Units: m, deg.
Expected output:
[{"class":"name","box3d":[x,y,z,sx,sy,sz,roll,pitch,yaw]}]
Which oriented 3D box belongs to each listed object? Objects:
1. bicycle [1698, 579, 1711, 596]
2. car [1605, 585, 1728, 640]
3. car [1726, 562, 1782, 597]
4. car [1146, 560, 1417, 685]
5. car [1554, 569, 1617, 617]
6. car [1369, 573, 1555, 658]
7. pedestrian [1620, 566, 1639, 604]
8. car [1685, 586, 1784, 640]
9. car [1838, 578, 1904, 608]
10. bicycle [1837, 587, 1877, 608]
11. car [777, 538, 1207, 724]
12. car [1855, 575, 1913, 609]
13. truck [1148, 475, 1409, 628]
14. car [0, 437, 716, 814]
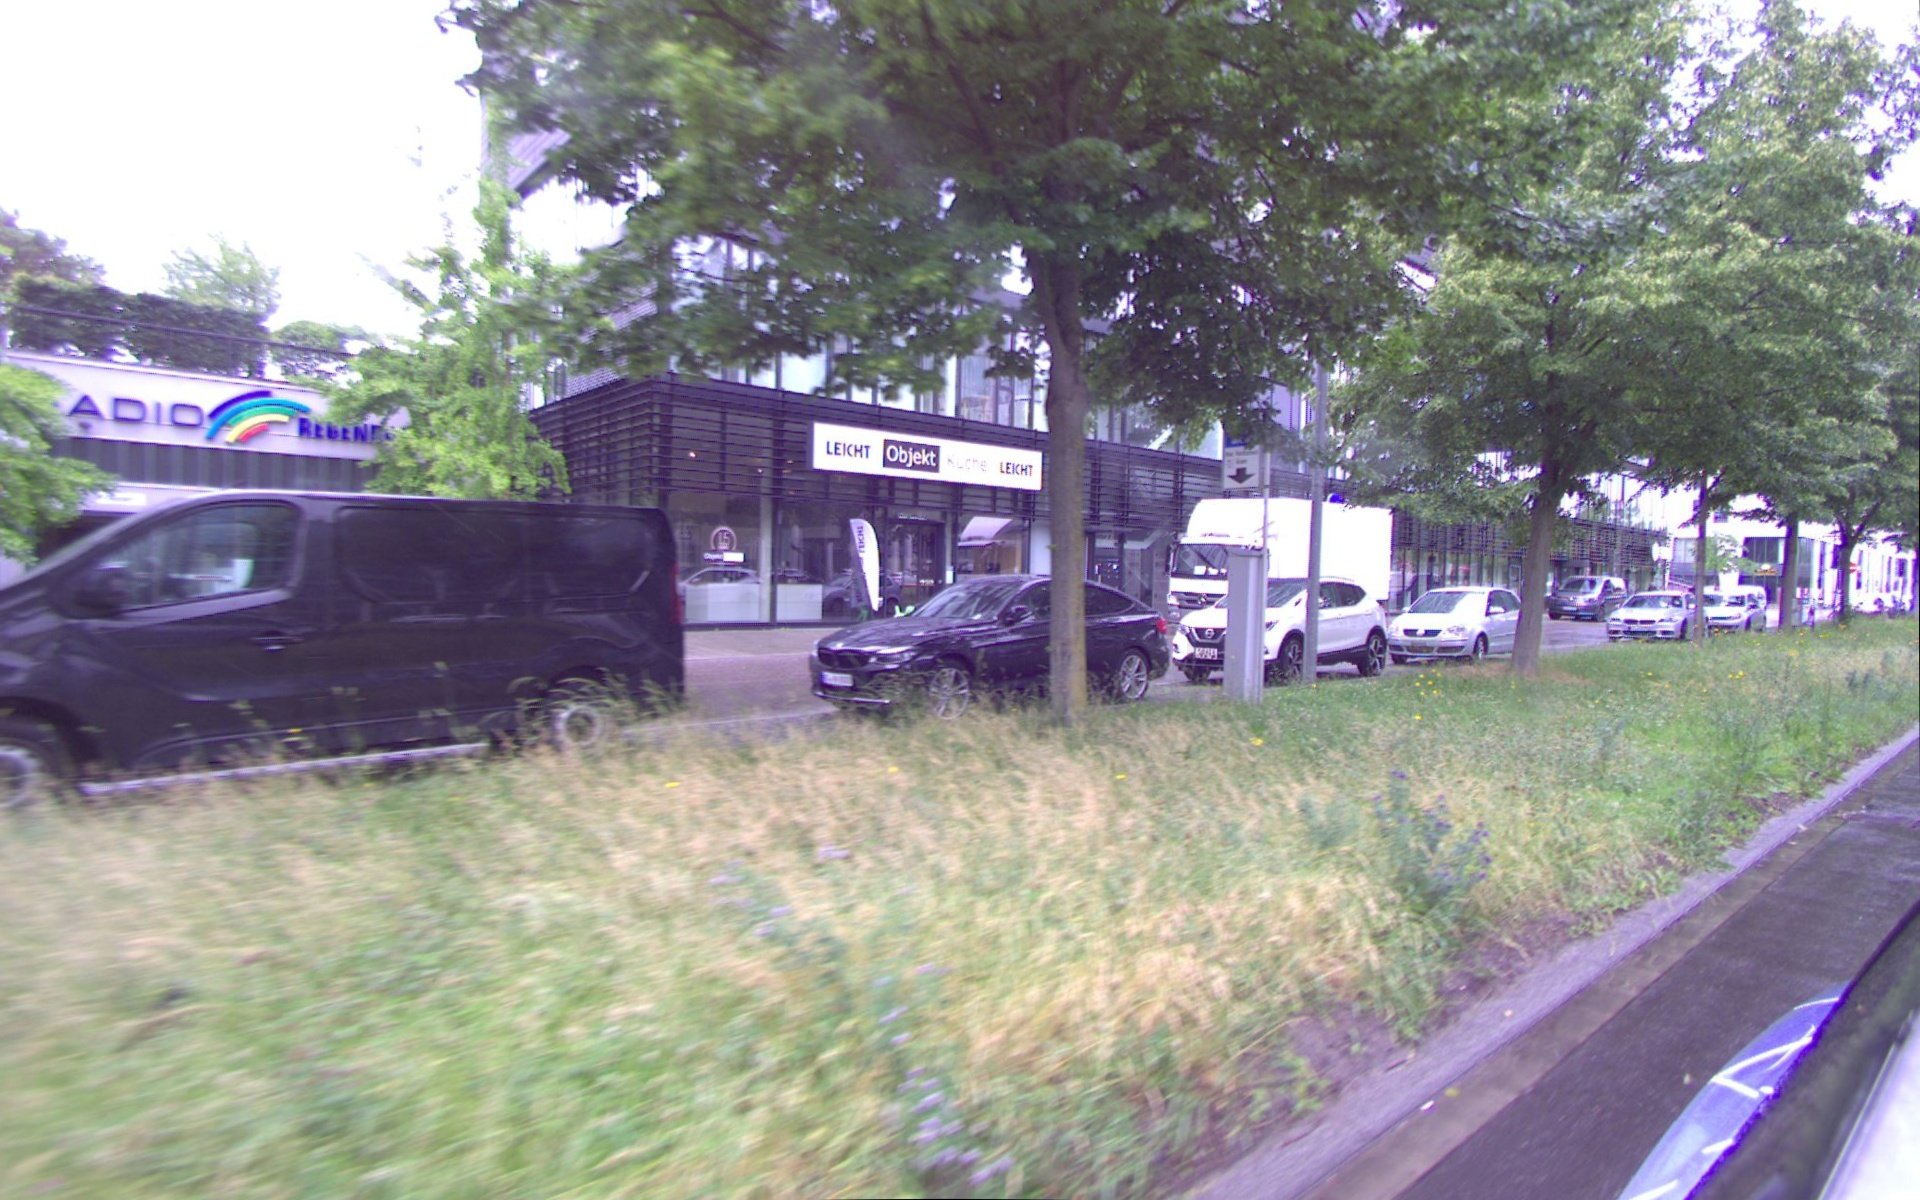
[{"class":"bicycle","box3d":[42.714,-0.729,58.082,0.436,0.909,1.212,2,-1,44]},{"class":"car","box3d":[20.745,0.304,29.633,5.150,1.462,1.995,-1,2,-44]},{"class":"car","box3d":[45.347,-1.135,57.780,4.645,1.889,1.895,0,1,-44]},{"class":"car","box3d":[5.173,0.295,15.948,4.642,1.690,1.996,0,0,-42]},{"class":"car","box3d":[27.218,-0.329,43.943,1.988,1.944,5.083,1,1,35]},{"class":"car","box3d":[9.960,0.372,19.906,4.643,1.471,1.771,2,-4,-43]},{"class":"pedestrian","box3d":[31.731,-0.698,47.969,0.790,1.762,0.580,3,-1,-43]},{"class":"car","box3d":[25.365,0.441,33.093,4.027,1.616,1.764,2,0,-41]},{"class":"car","box3d":[48.052,-0.375,53.344,4.872,1.473,1.997,0,1,-41]},{"class":"bicycle","box3d":[42.290,-0.123,47.749,0.424,0.929,1.464,2,0,-9]},{"class":"car","box3d":[0.545,0.302,11.564,4.871,1.690,1.997,1,-1,-41]},{"class":"car","box3d":[52.336,-0.430,57.319,4.144,1.729,1.997,2,0,-42]},{"class":"truck","box3d":[8.770,-1.185,27.141,8.406,3.484,3.027,-1,1,-44]},{"class":"car","box3d":[-4.471,0.158,7.127,4.940,1.977,1.997,2,0,-41]}]
